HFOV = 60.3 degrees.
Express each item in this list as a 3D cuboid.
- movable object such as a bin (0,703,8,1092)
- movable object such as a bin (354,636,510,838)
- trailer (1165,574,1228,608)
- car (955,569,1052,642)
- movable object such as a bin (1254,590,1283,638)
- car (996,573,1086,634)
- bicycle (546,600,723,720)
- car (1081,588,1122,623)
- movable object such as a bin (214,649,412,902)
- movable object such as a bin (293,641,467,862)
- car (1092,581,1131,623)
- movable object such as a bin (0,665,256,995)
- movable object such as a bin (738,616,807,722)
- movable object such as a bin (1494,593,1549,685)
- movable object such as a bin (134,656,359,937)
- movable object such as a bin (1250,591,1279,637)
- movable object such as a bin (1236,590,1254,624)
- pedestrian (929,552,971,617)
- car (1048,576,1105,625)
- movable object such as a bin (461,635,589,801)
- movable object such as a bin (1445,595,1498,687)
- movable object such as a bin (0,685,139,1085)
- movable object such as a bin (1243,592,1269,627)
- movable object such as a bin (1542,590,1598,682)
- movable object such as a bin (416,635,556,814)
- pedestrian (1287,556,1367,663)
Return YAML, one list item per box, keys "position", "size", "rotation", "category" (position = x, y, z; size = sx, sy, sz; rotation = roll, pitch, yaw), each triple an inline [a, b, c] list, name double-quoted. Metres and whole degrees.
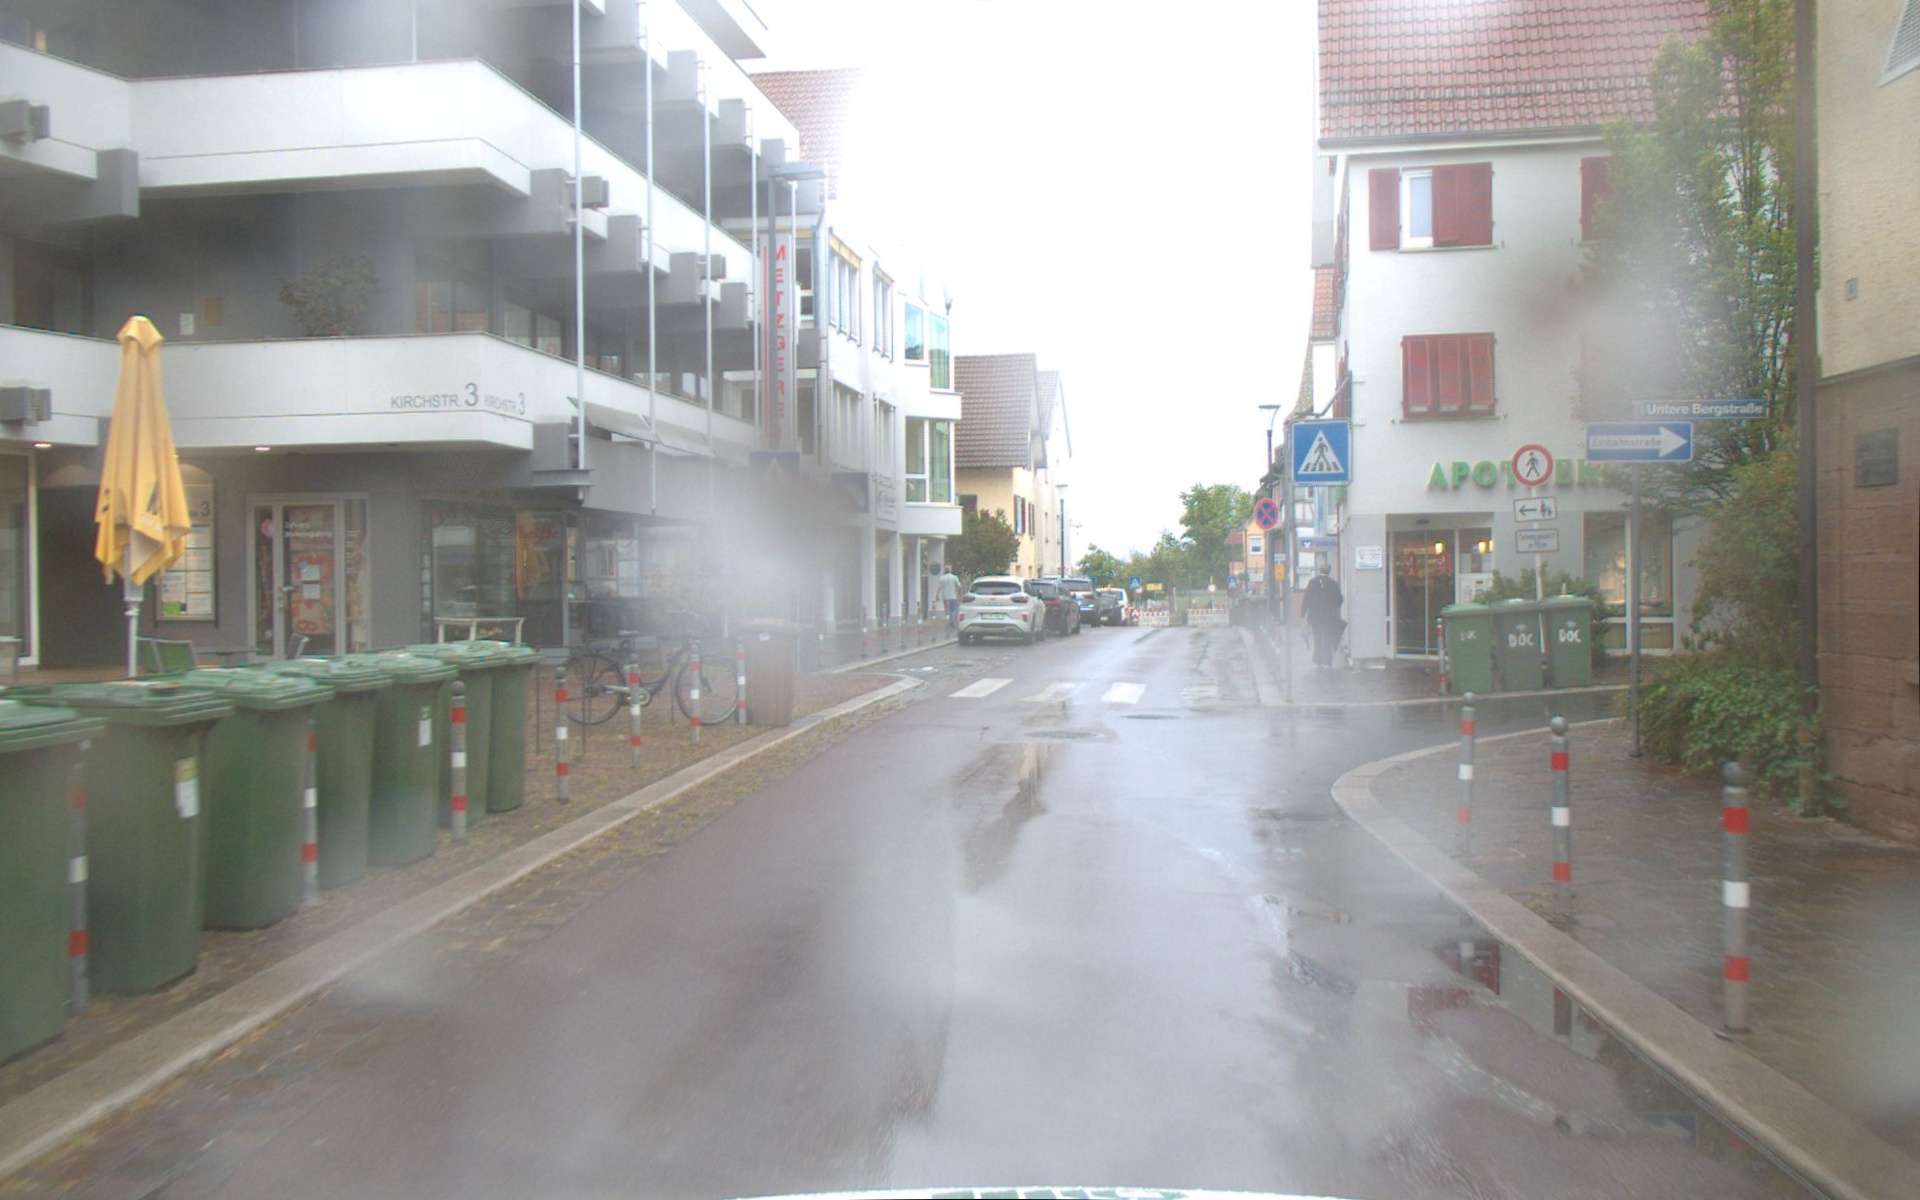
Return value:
- position: [-3.056, 0.846, 4.380]
  size: [0.672, 1.097, 0.677]
  rotation: [0, 0, 0]
  category: "movable object such as a bin"
- position: [-3.009, 0.765, 9.479]
  size: [0.672, 1.095, 0.669]
  rotation: [0, 0, 0]
  category: "movable object such as a bin"
- position: [21.794, -0.817, 152.579]
  size: [5.659, 2.999, 2.001]
  rotation: [0, -1, 4]
  category: "trailer"
- position: [1.079, 0.082, 39.019]
  size: [1.753, 1.578, 4.004]
  rotation: [1, 1, 9]
  category: "car"
- position: [7.251, 0.331, 38.904]
  size: [0.662, 1.105, 0.719]
  rotation: [0, 0, 11]
  category: "movable object such as a bin"
- position: [2.239, 0.065, 44.604]
  size: [1.791, 1.525, 4.768]
  rotation: [-1, 0, 10]
  category: "car"
- position: [-3.262, 0.597, 16.657]
  size: [1.714, 1.185, 0.443]
  rotation: [0, -1, -11]
  category: "bicycle"
- position: [6.056, 0.248, 70.560]
  size: [1.645, 1.413, 3.827]
  rotation: [0, -1, 6]
  category: "car"
- position: [-3.053, 0.808, 7.856]
  size: [0.672, 1.124, 0.669]
  rotation: [0, 0, 0]
  category: "movable object such as a bin"
- position: [-3.028, 0.774, 8.683]
  size: [0.672, 1.092, 0.669]
  rotation: [0, 0, 0]
  category: "movable object such as a bin"
- position: [7.021, 0.124, 76.251]
  size: [1.687, 1.857, 4.431]
  rotation: [0, -1, 7]
  category: "car"
- position: [-3.044, 0.804, 6.022]
  size: [0.672, 1.100, 0.669]
  rotation: [0, 0, 0]
  category: "movable object such as a bin"
- position: [-1.909, 0.692, 16.790]
  size: [0.673, 1.038, 0.631]
  rotation: [0, 0, -8]
  category: "movable object such as a bin"
- position: [6.736, 0.464, 19.848]
  size: [0.490, 1.075, 0.549]
  rotation: [-2, -2, 9]
  category: "movable object such as a bin"
- position: [-3.053, 0.818, 7.129]
  size: [0.672, 1.124, 0.669]
  rotation: [0, 0, 0]
  category: "movable object such as a bin"
- position: [7.302, 0.331, 39.655]
  size: [0.662, 1.103, 0.698]
  rotation: [0, 0, 11]
  category: "movable object such as a bin"
- position: [10.870, 0.272, 63.165]
  size: [0.624, 1.313, 0.632]
  rotation: [0, -1, 14]
  category: "movable object such as a bin"
- position: [-0.283, -0.449, 47.979]
  size: [1.013, 1.837, 1.117]
  rotation: [0, 0, 9]
  category: "pedestrian"
- position: [4.071, 0.053, 57.282]
  size: [1.742, 1.596, 4.411]
  rotation: [0, -1, 7]
  category: "car"
- position: [-2.898, 0.770, 11.059]
  size: [0.672, 1.057, 0.669]
  rotation: [0, 0, 0]
  category: "movable object such as a bin"
- position: [6.165, 0.491, 19.951]
  size: [0.490, 1.075, 0.549]
  rotation: [-2, -2, 9]
  category: "movable object such as a bin"
- position: [-3.052, 0.838, 5.105]
  size: [0.672, 1.106, 0.712]
  rotation: [0, 0, 0]
  category: "movable object such as a bin"
- position: [9.724, 0.313, 54.353]
  size: [0.787, 1.151, 0.863]
  rotation: [0, -1, 8]
  category: "movable object such as a bin"
- position: [7.287, 0.433, 19.771]
  size: [0.490, 1.075, 0.549]
  rotation: [-2, -2, 9]
  category: "movable object such as a bin"
- position: [-2.943, 0.761, 10.323]
  size: [0.672, 1.060, 0.669]
  rotation: [0, 0, 0]
  category: "movable object such as a bin"
- position: [6.162, 0.152, 27.864]
  size: [1.152, 1.727, 1.178]
  rotation: [-2, 0, 6]
  category: "pedestrian"
